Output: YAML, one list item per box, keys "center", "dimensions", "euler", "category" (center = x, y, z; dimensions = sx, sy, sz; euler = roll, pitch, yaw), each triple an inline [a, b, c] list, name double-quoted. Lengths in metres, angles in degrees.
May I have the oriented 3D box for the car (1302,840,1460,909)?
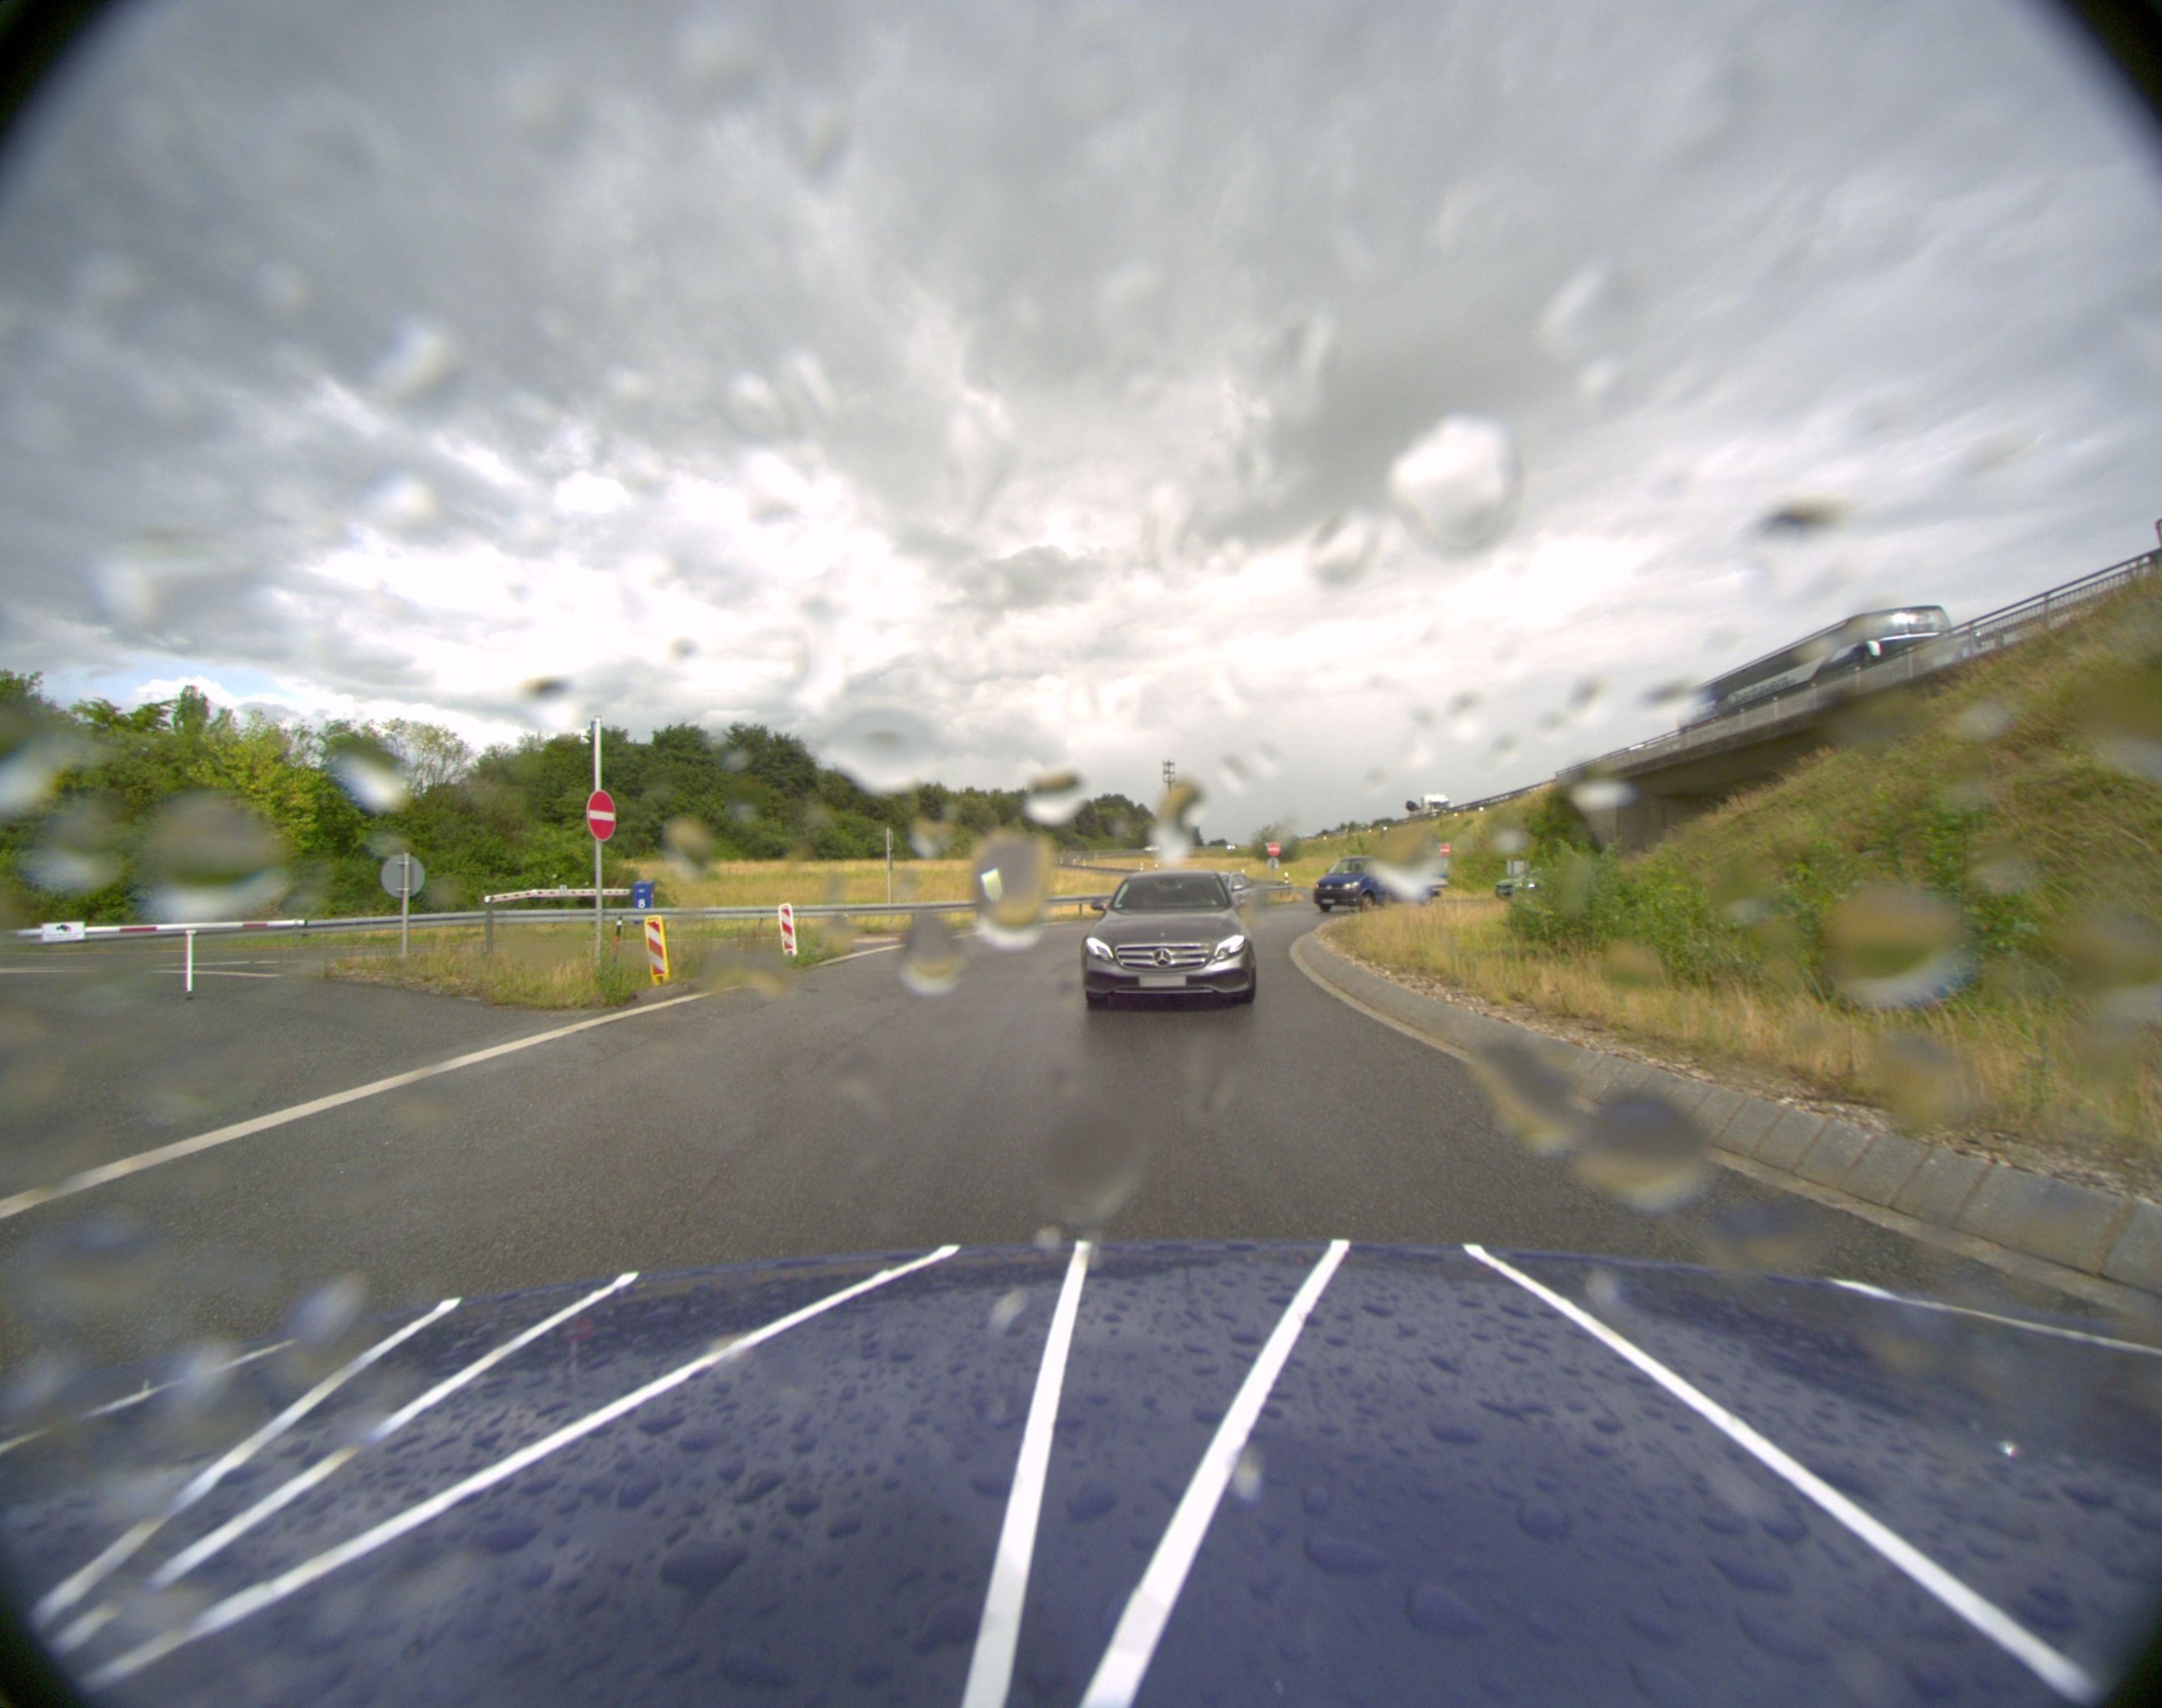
- center: [10.648, 0.684, 26.812]
  dimensions: [5.689, 1.904, 1.890]
  euler: [-5, 0, -29]
  category: "car"

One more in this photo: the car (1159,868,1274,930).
- center: [3.678, 1.115, 19.913]
  dimensions: [1.793, 1.390, 4.359]
  euler: [1, -2, 26]
  category: "car"

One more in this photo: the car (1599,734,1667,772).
- center: [35.774, -6.507, 49.386]
  dimensions: [1.711, 1.517, 4.498]
  euler: [-12, -2, 13]
  category: "car"

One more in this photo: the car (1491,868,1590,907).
- center: [19.074, 1.361, 31.532]
  dimensions: [3.934, 1.527, 1.569]
  euler: [0, -1, -25]
  category: "car"

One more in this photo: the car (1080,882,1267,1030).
- center: [1.087, 1.074, 9.635]
  dimensions: [1.769, 1.383, 4.594]
  euler: [-1, -2, 5]
  category: "car"

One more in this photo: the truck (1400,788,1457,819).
- center: [44.703, -6.433, 98.131]
  dimensions: [3.158, 3.175, 9.280]
  euler: [-2, 0, 1]
  category: "truck"

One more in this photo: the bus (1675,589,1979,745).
- center: [30.533, -7.261, 32.573]
  dimensions: [2.608, 3.061, 14.481]
  euler: [-2, 0, 16]
  category: "bus"

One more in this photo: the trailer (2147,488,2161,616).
- center: [24.676, -6.993, 13.445]
  dimensions: [2.183, 2.854, 8.342]
  euler: [-2, 0, 18]
  category: "trailer"
